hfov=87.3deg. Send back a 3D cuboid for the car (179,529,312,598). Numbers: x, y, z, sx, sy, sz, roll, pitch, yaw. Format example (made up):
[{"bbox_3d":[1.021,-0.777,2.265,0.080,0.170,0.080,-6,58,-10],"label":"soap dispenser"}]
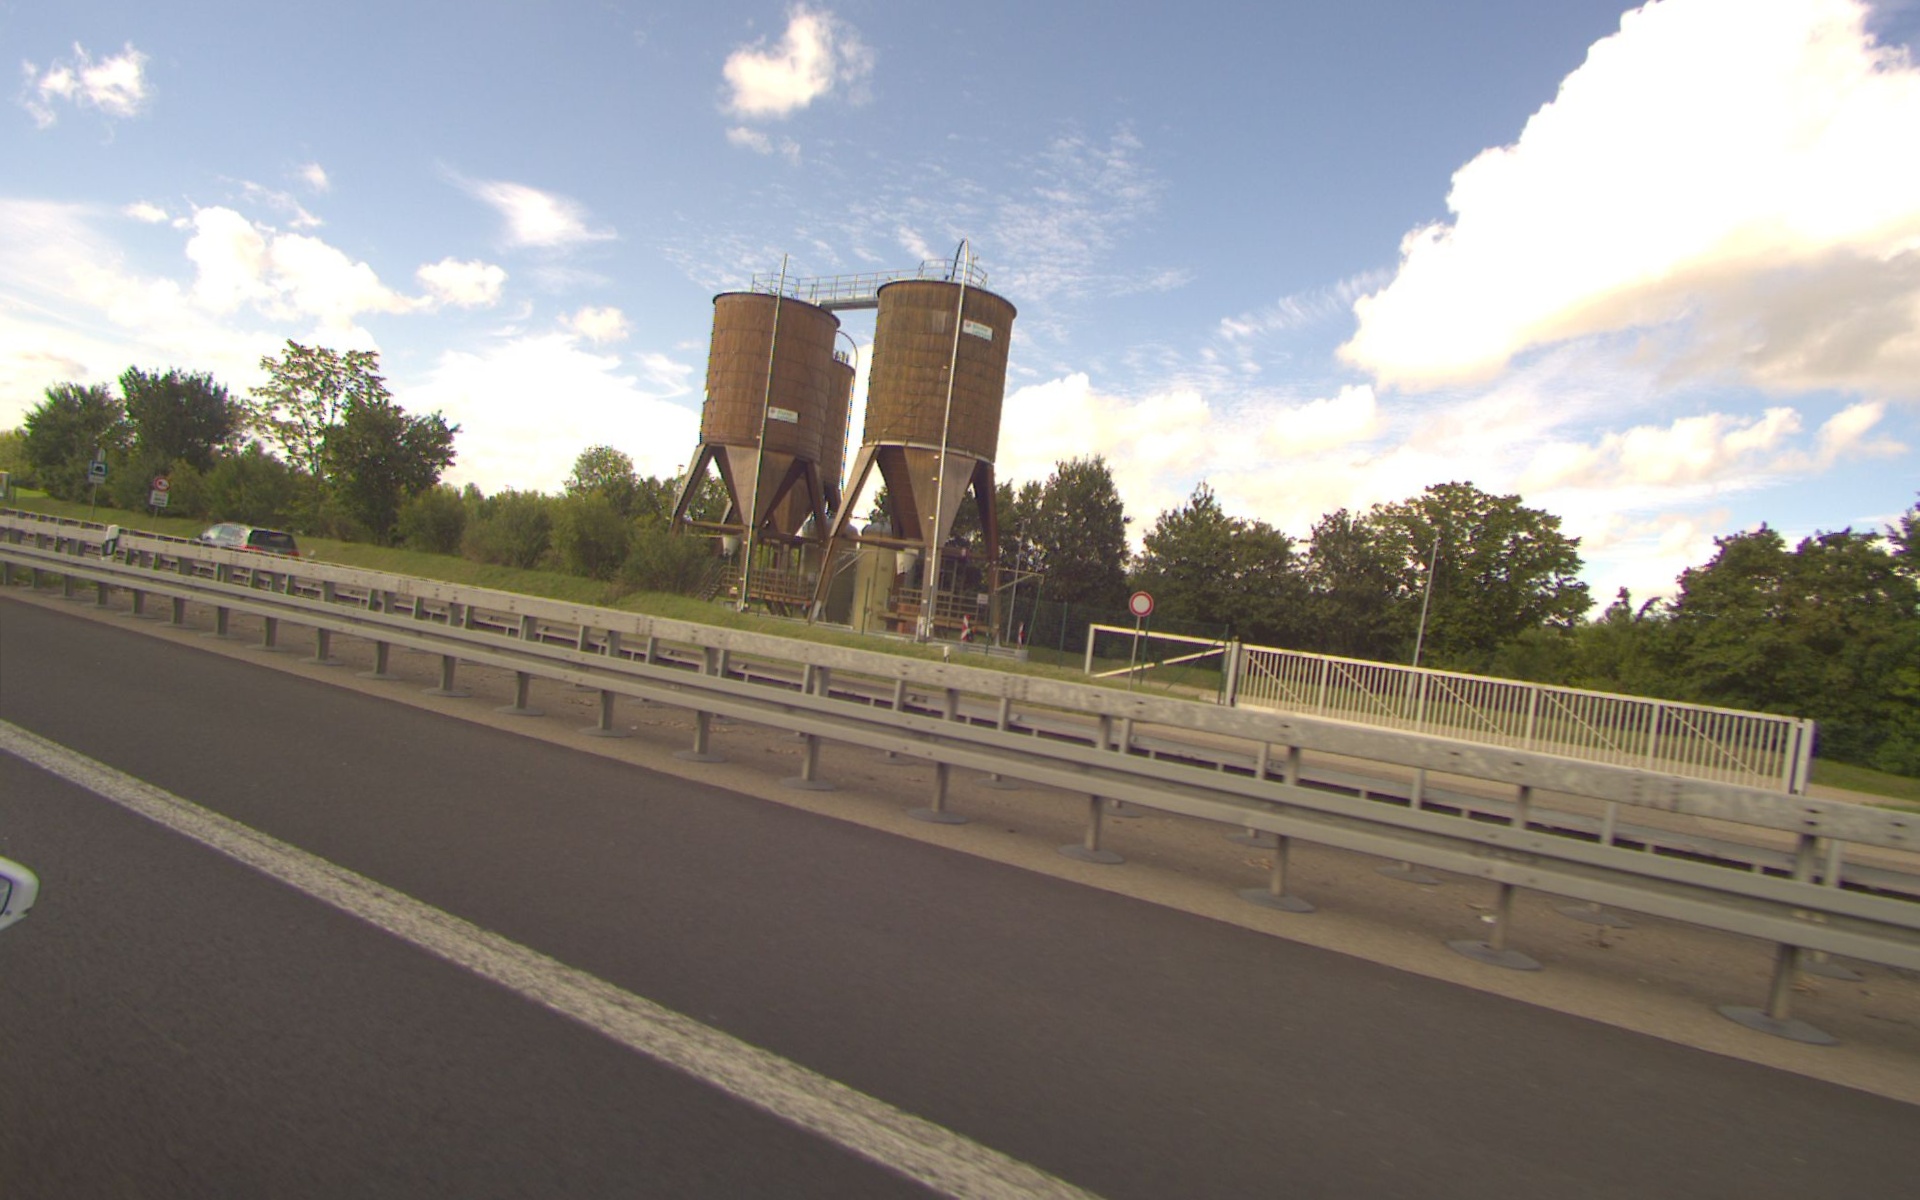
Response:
[{"bbox_3d":[-22.945,-1.180,32.296,3.933,1.739,1.995,6,1,31],"label":"car"}]
